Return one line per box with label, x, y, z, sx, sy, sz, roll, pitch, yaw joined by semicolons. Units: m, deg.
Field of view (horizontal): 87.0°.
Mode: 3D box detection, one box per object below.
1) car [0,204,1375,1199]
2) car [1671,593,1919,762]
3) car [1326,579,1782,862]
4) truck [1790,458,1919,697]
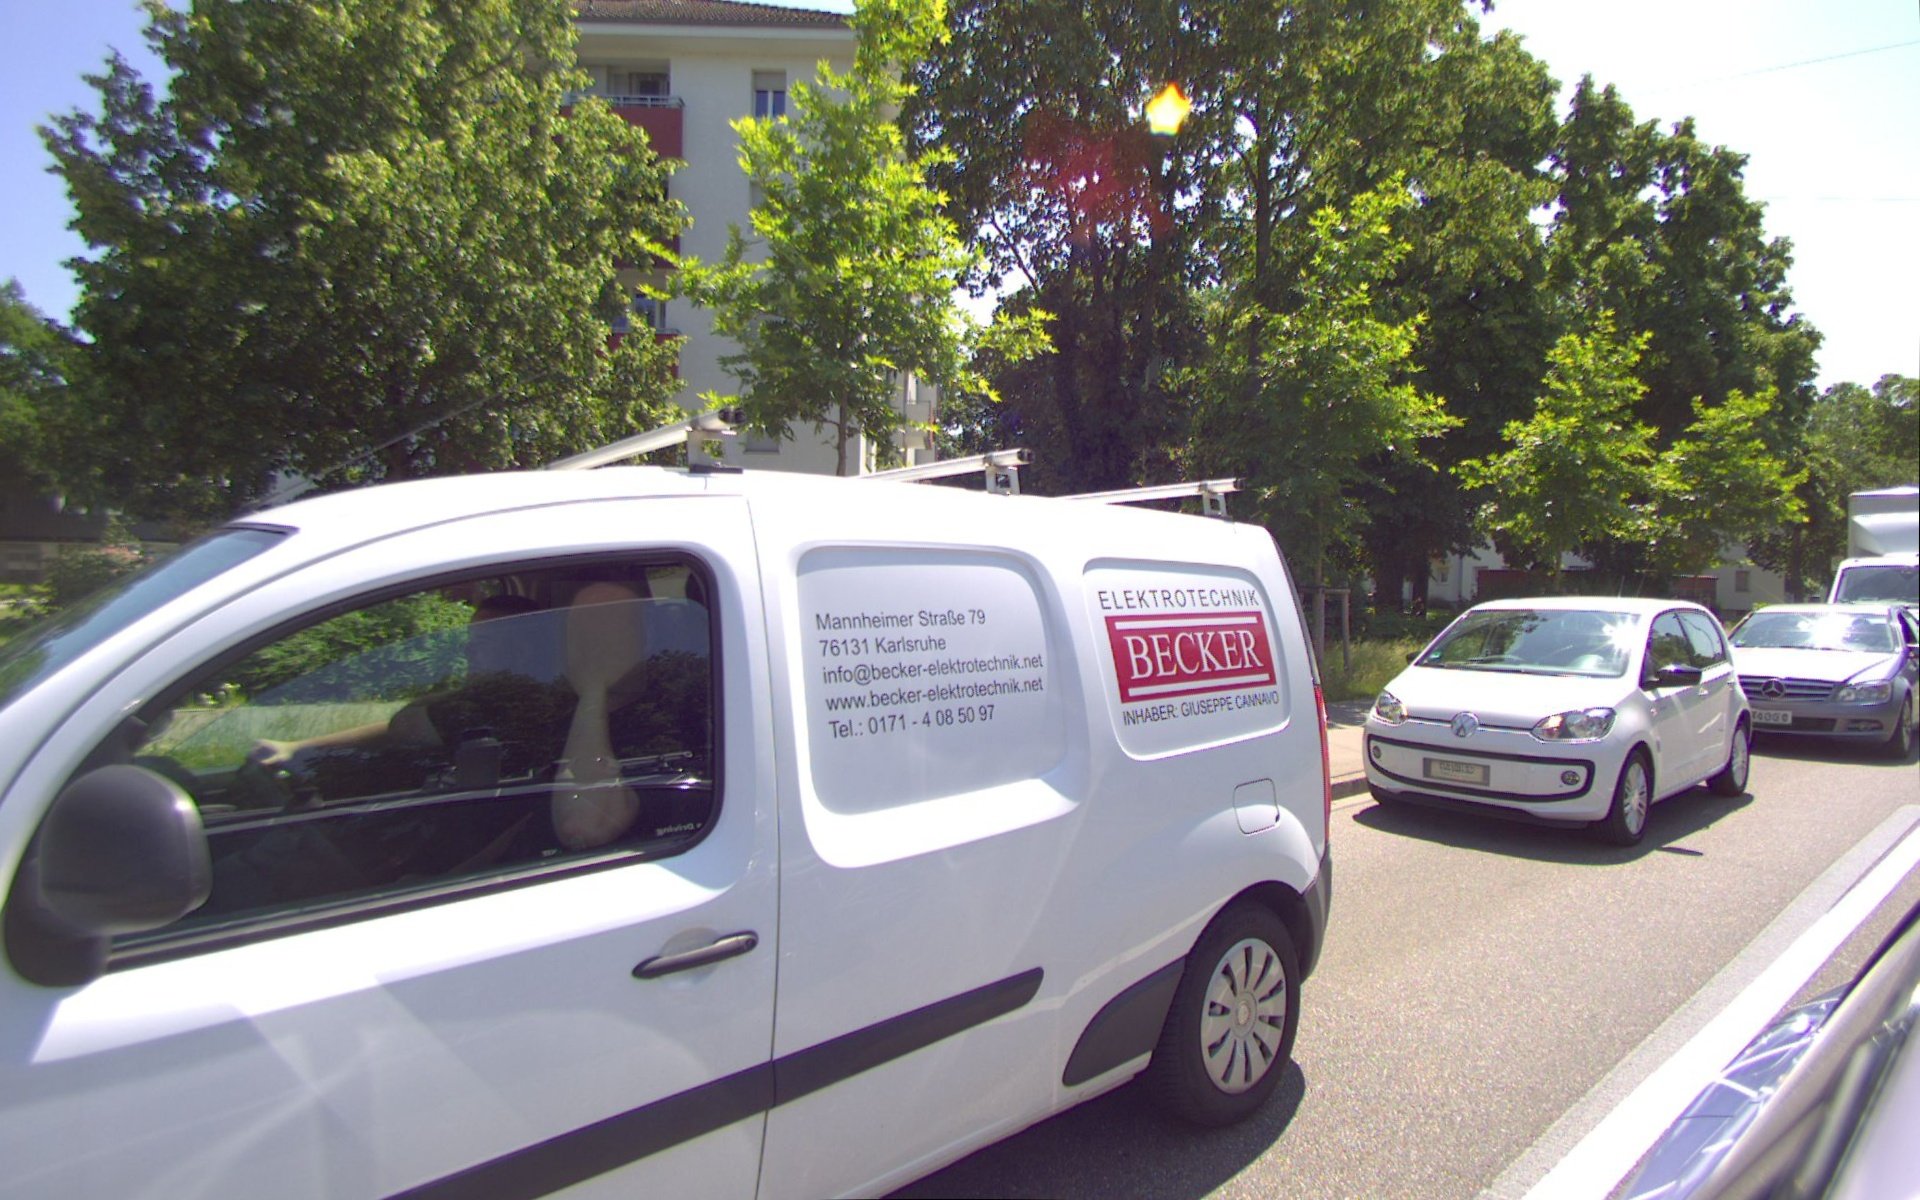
car;-0.995;0.457;2.530;4.370;1.849;1.997;0;1;-41
car;9.231;0.659;10.734;4.016;1.426;1.839;0;1;-41
car;4.398;0.625;7.283;3.705;1.497;1.729;0;1;-41
truck;16.515;-0.331;16.968;7.778;3.387;2.434;0;1;-39
